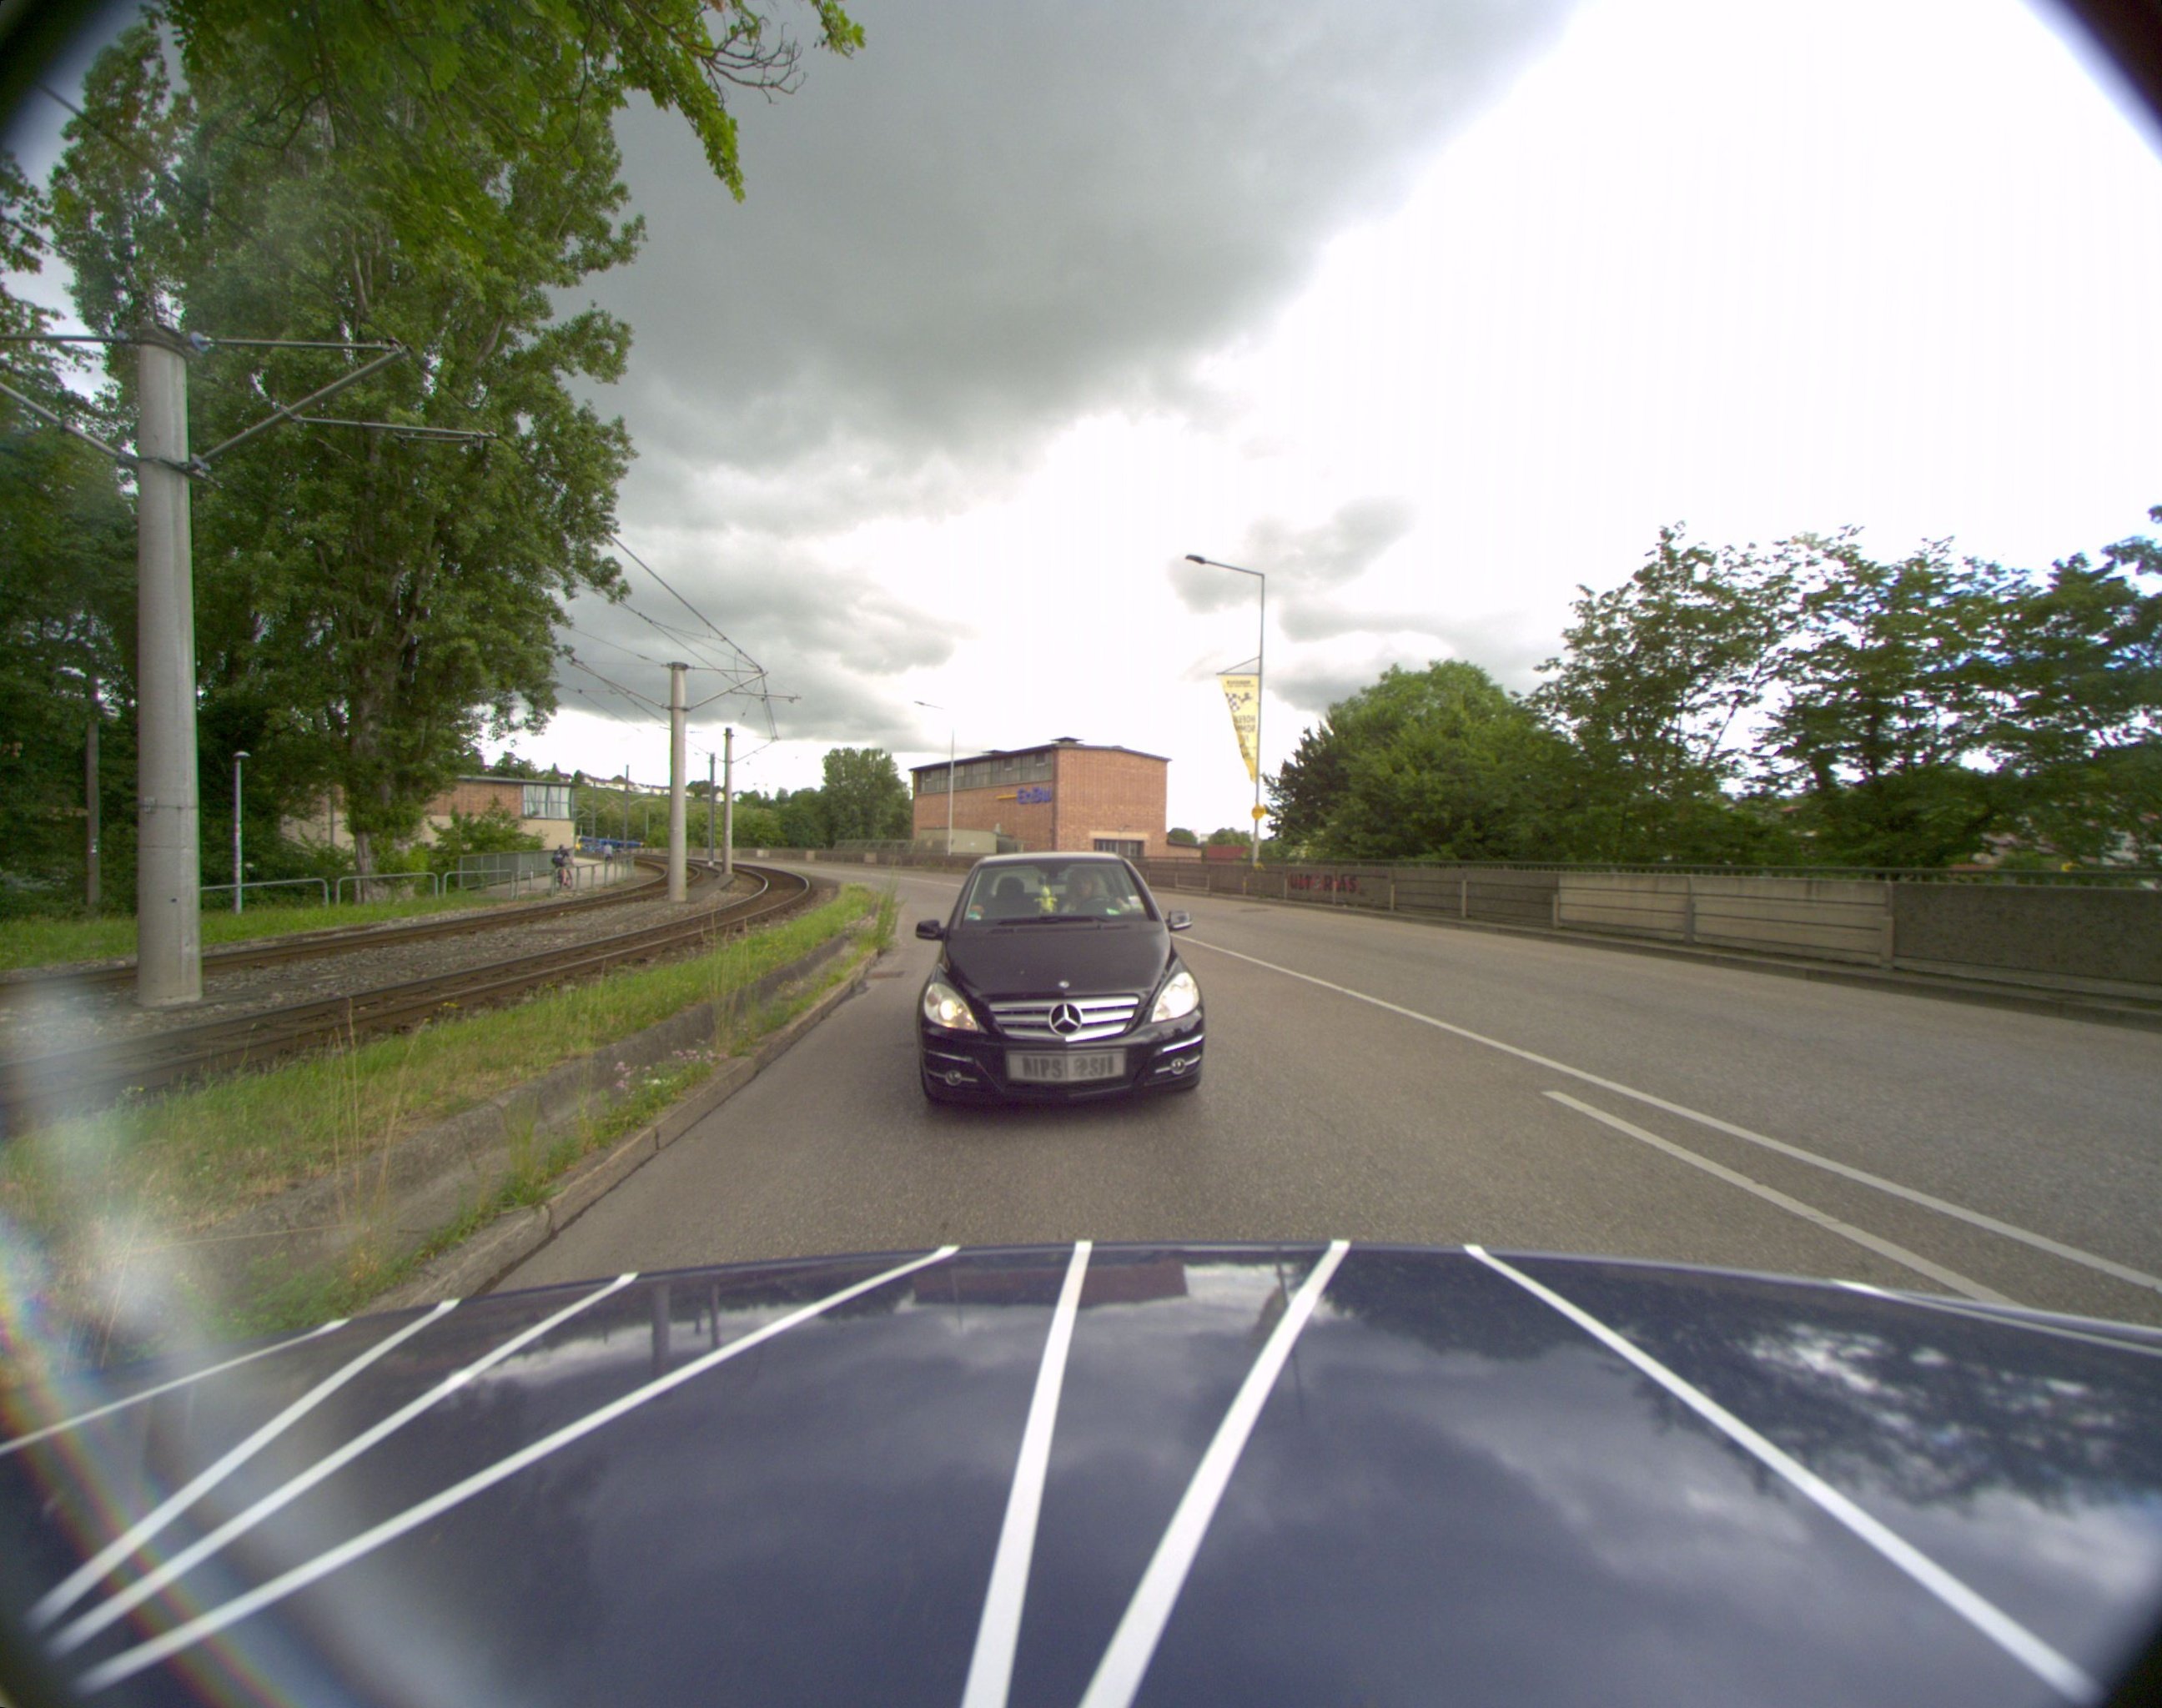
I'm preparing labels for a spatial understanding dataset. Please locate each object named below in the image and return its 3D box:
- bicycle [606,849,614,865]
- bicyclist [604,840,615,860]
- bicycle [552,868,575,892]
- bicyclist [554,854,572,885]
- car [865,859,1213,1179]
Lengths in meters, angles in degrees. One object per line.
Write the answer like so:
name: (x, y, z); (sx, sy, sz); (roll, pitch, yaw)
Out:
bicycle: (-31.573, 0.211, 50.907); (0.428, 1.044, 2.075); (-2, 1, -32)
bicyclist: (-31.595, -0.250, 50.914); (0.596, 1.352, 0.908); (-2, 1, -32)
bicycle: (-18.447, 0.912, 27.091); (0.348, 0.790, 1.545); (0, 0, -22)
bicyclist: (-18.438, 0.548, 27.040); (0.418, 1.077, 0.473); (0, 1, -21)
car: (-0.244, 0.910, 6.088); (1.861, 1.612, 3.999); (0, 1, 0)
